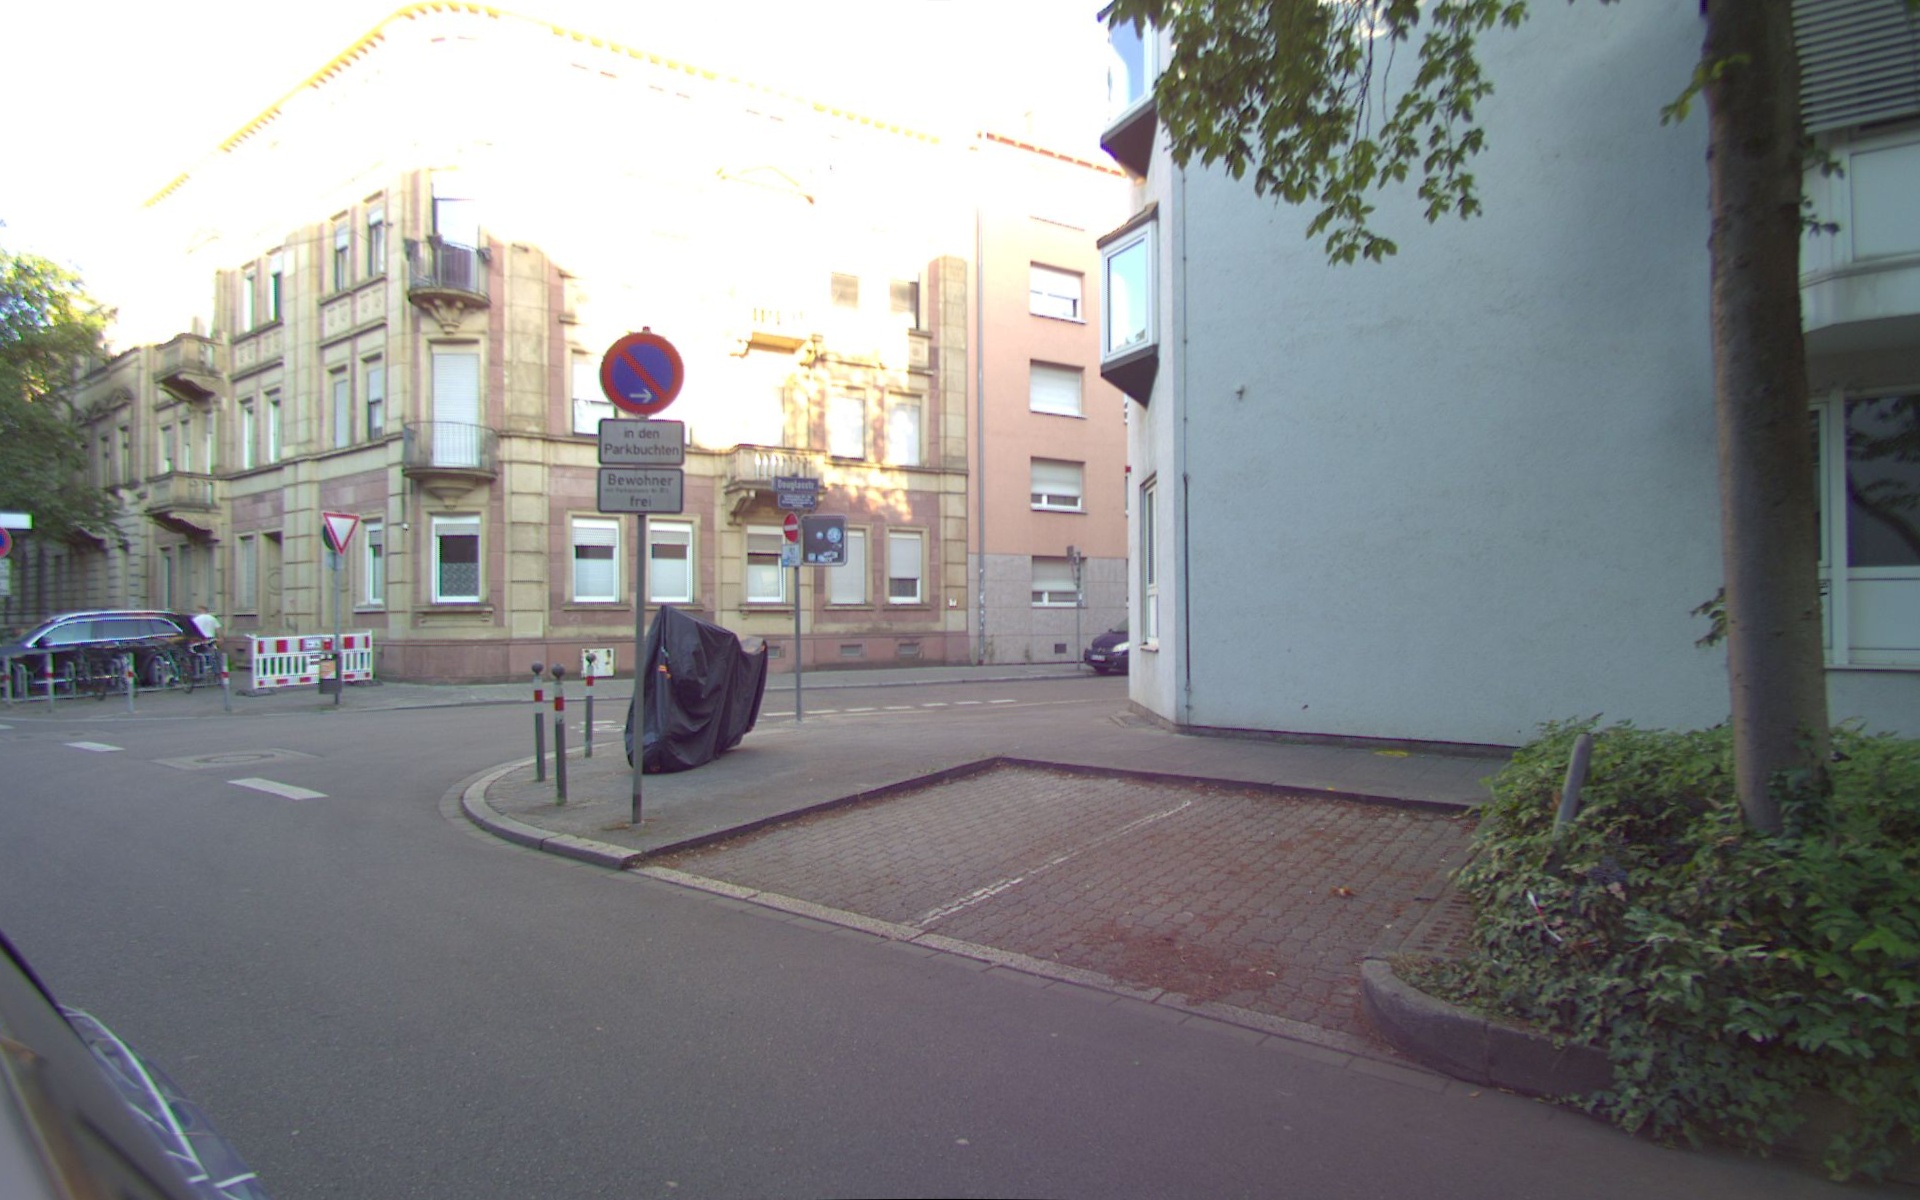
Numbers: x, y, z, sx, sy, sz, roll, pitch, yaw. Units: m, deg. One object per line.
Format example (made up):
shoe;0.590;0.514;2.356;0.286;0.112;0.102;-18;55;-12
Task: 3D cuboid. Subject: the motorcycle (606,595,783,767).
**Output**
motorcycle;-2.562;0.740;10.113;0.810;1.516;2.275;-1;-1;11

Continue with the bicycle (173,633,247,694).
bicycle;-15.091;1.252;20.343;2.034;1.159;0.555;-1;-1;34

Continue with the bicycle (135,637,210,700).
bicycle;-15.455;1.313;19.847;2.034;1.159;0.555;-1;-1;34

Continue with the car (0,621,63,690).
car;-24.870;1.366;24.744;1.741;1.690;4.189;-1;-2;40

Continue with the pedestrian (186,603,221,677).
pedestrian;-18.823;0.989;25.183;0.651;1.821;0.565;-2;-2;41

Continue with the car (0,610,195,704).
car;-18.562;1.127;20.706;1.740;1.795;4.368;-1;-2;38

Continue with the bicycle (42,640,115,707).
bicycle;-16.302;1.334;18.706;2.035;1.159;0.555;-1;-1;35

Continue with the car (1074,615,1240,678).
car;5.223;1.162;26.607;4.296;1.529;1.789;1;-2;-35

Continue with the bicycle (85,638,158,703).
bicycle;-15.939;1.310;19.228;2.035;1.159;0.555;-1;-1;35
